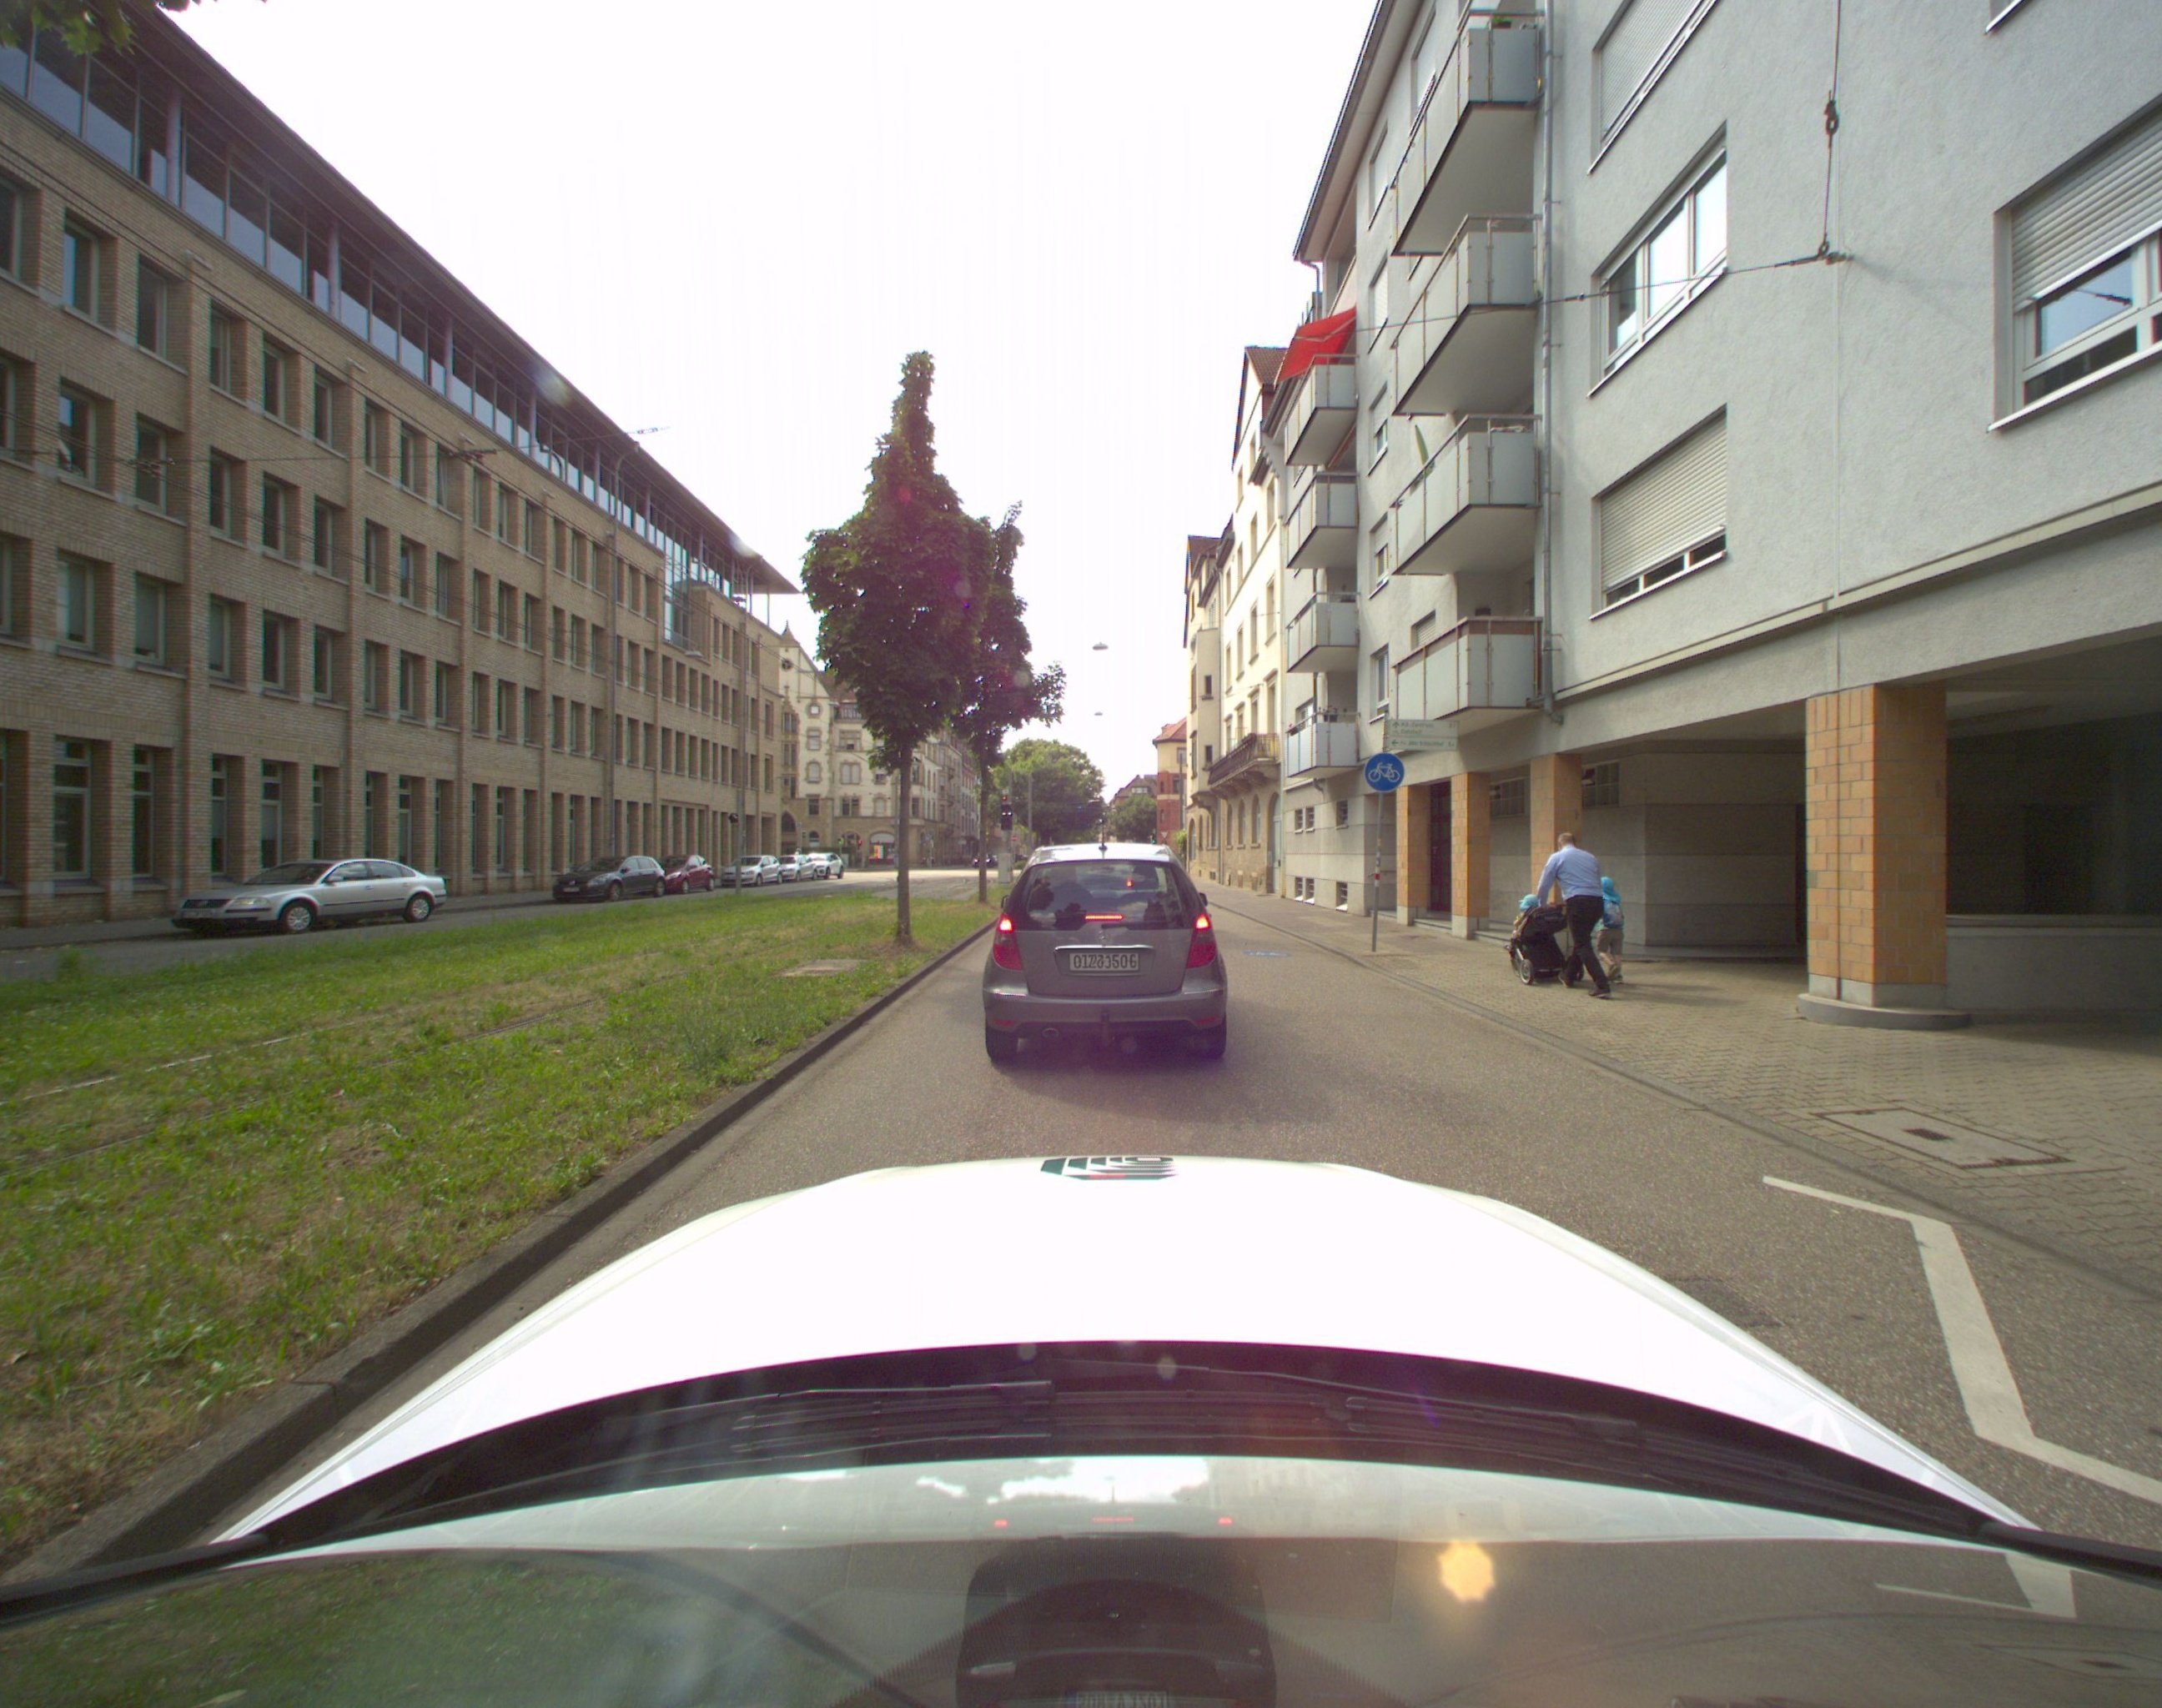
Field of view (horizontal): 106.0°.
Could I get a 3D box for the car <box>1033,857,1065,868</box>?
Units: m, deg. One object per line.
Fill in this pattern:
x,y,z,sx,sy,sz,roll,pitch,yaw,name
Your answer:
-3.904,0.980,98.871,1.984,1.339,3.954,0,0,-38,car

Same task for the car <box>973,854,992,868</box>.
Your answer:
-11.604,0.803,96.169,1.990,1.618,3.994,-1,0,-4,car

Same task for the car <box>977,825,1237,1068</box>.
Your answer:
0.229,0.628,7.279,1.716,1.605,3.678,-1,0,2,car

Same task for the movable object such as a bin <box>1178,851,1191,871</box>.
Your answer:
7.568,0.510,59.573,0.714,1.472,0.980,-1,0,-8,movable object such as a bin

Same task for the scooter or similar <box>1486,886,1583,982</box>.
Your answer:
5.327,0.916,9.611,0.590,1.002,0.906,-4,0,2,scooter or similar

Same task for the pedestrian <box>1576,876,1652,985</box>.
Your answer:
5.901,0.835,9.028,0.454,1.135,0.494,-4,0,1,pedestrian

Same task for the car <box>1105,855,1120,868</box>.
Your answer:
4.002,0.916,104.077,1.744,1.633,3.504,0,0,5,car

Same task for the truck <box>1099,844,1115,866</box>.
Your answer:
3.761,0.154,117.060,2.113,2.970,4.005,-1,0,5,truck

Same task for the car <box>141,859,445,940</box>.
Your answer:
-15.581,0.820,16.535,1.708,1.396,4.487,0,0,2,car

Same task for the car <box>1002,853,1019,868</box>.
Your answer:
-8.426,0.756,97.632,1.990,1.728,3.994,-1,0,-4,car

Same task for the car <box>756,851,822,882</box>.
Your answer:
-15.365,0.638,43.083,1.925,1.530,4.016,0,0,2,car

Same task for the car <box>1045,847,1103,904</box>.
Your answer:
-0.156,0.651,26.311,1.716,1.706,3.678,-1,0,2,car

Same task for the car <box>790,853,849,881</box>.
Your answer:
-15.212,0.730,47.611,1.925,1.535,4.260,0,0,2,car

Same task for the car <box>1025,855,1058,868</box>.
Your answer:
-4.723,0.904,96.261,1.984,1.495,3.954,0,0,-38,car

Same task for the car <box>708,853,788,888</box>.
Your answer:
-15.342,0.706,37.734,1.844,1.530,4.212,0,0,2,car

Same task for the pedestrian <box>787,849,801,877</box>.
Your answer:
-18.576,0.605,52.729,0.763,1.795,0.952,0,0,-24,pedestrian

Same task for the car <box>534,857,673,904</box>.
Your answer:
-15.391,0.800,26.551,1.925,1.396,4.241,0,0,2,car

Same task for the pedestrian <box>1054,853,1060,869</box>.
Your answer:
-2.721,0.785,92.109,0.493,1.725,0.652,0,0,-10,pedestrian

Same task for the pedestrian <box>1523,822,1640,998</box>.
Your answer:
5.285,0.569,8.652,0.618,1.738,0.877,-4,0,2,pedestrian

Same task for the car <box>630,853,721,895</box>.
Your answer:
-15.393,0.724,31.101,1.577,1.530,3.551,0,0,2,car
